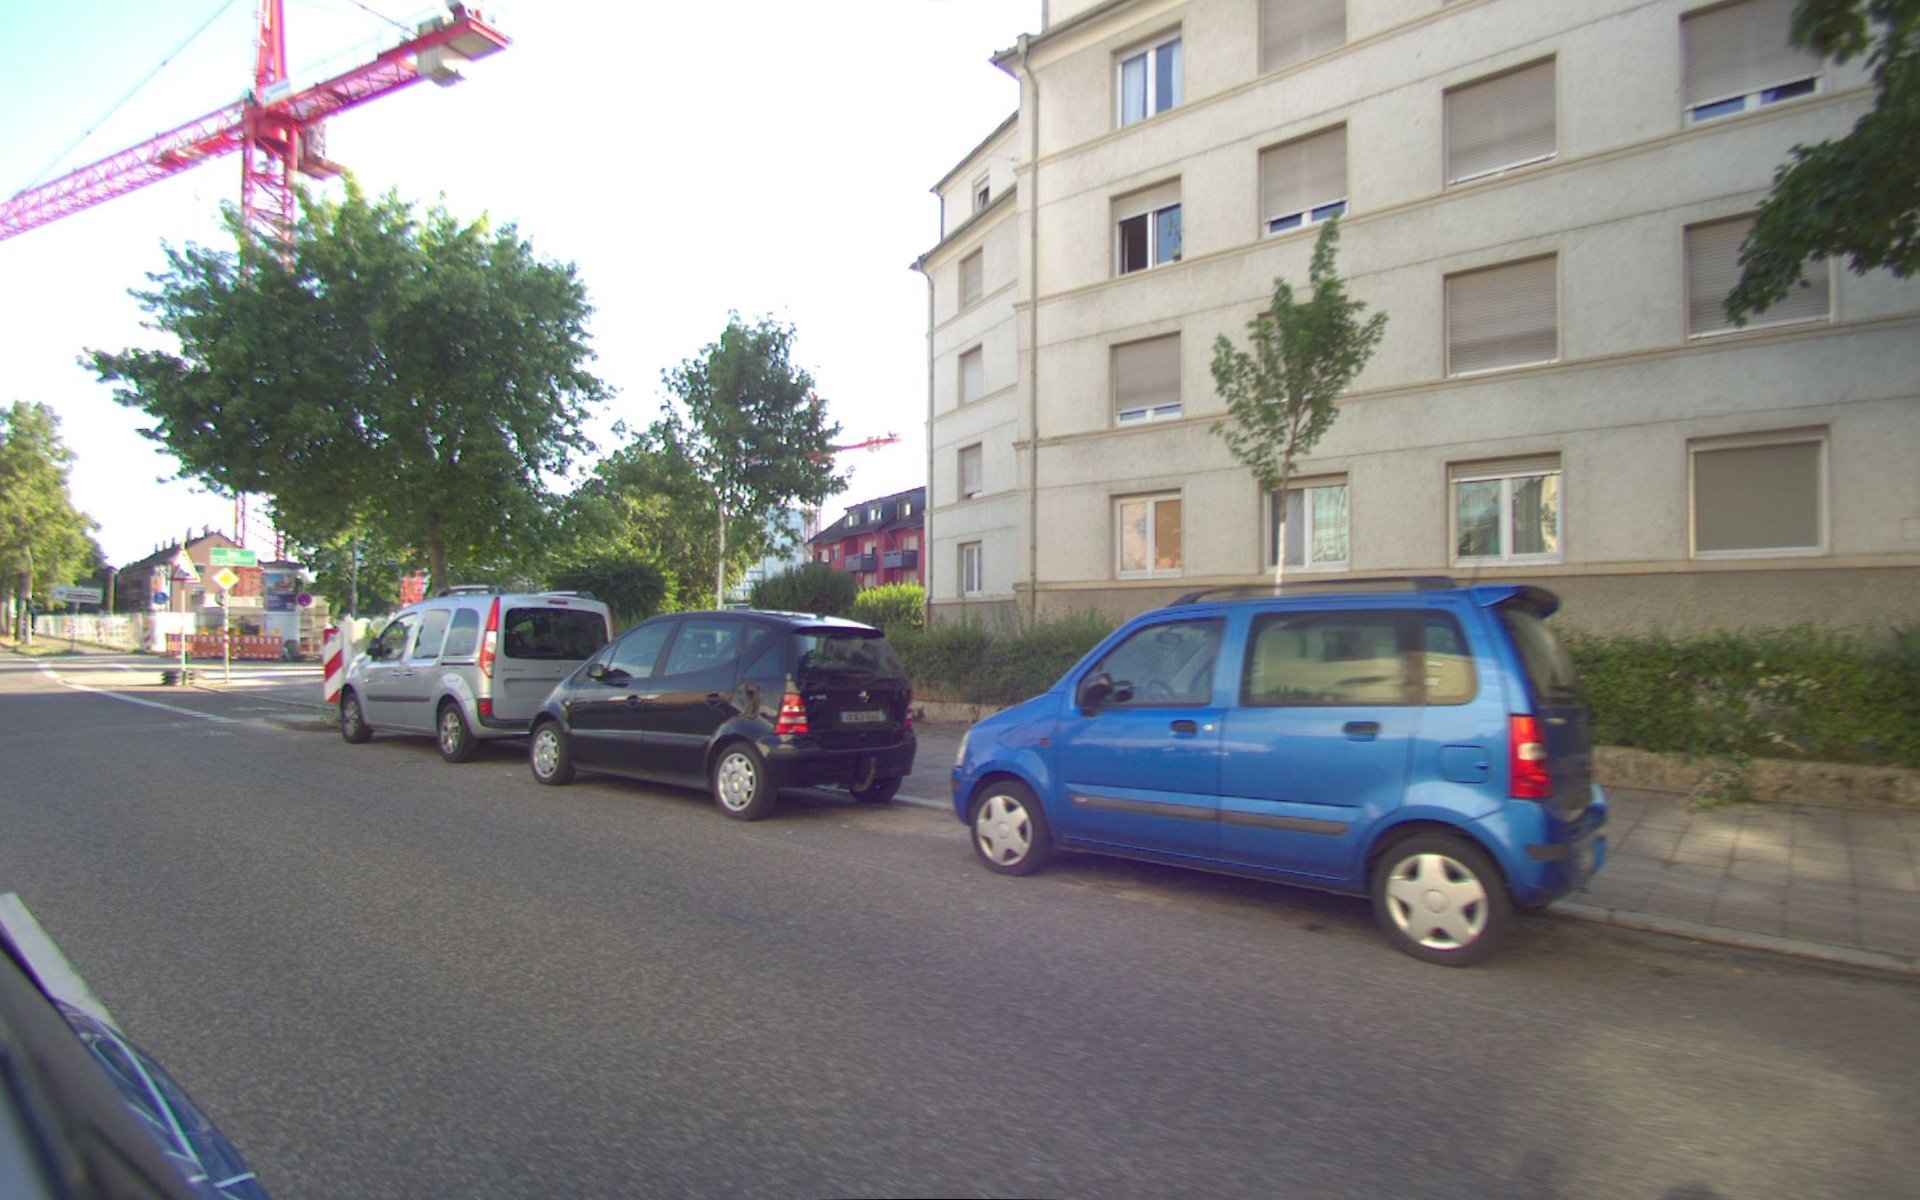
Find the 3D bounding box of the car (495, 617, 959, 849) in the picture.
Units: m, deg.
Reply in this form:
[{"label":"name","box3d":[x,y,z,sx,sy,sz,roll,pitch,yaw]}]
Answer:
[{"label":"car","box3d":[-2.151,0.979,8.847,3.996,1.564,1.855,-1,-4,39]}]

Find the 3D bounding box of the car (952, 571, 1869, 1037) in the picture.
[{"label":"car","box3d":[2.077,0.716,5.403,3.996,1.564,1.855,-1,-1,39]}]

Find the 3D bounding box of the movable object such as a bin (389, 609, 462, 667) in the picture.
[{"label":"movable object such as a bin","box3d":[-50.541,3.456,95.459,4.034,5.102,12.248,1,-1,-38]}]

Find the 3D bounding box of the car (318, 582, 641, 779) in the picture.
[{"label":"car","box3d":[-5.826,0.850,12.017,4.486,1.911,1.821,-1,-4,42]}]
